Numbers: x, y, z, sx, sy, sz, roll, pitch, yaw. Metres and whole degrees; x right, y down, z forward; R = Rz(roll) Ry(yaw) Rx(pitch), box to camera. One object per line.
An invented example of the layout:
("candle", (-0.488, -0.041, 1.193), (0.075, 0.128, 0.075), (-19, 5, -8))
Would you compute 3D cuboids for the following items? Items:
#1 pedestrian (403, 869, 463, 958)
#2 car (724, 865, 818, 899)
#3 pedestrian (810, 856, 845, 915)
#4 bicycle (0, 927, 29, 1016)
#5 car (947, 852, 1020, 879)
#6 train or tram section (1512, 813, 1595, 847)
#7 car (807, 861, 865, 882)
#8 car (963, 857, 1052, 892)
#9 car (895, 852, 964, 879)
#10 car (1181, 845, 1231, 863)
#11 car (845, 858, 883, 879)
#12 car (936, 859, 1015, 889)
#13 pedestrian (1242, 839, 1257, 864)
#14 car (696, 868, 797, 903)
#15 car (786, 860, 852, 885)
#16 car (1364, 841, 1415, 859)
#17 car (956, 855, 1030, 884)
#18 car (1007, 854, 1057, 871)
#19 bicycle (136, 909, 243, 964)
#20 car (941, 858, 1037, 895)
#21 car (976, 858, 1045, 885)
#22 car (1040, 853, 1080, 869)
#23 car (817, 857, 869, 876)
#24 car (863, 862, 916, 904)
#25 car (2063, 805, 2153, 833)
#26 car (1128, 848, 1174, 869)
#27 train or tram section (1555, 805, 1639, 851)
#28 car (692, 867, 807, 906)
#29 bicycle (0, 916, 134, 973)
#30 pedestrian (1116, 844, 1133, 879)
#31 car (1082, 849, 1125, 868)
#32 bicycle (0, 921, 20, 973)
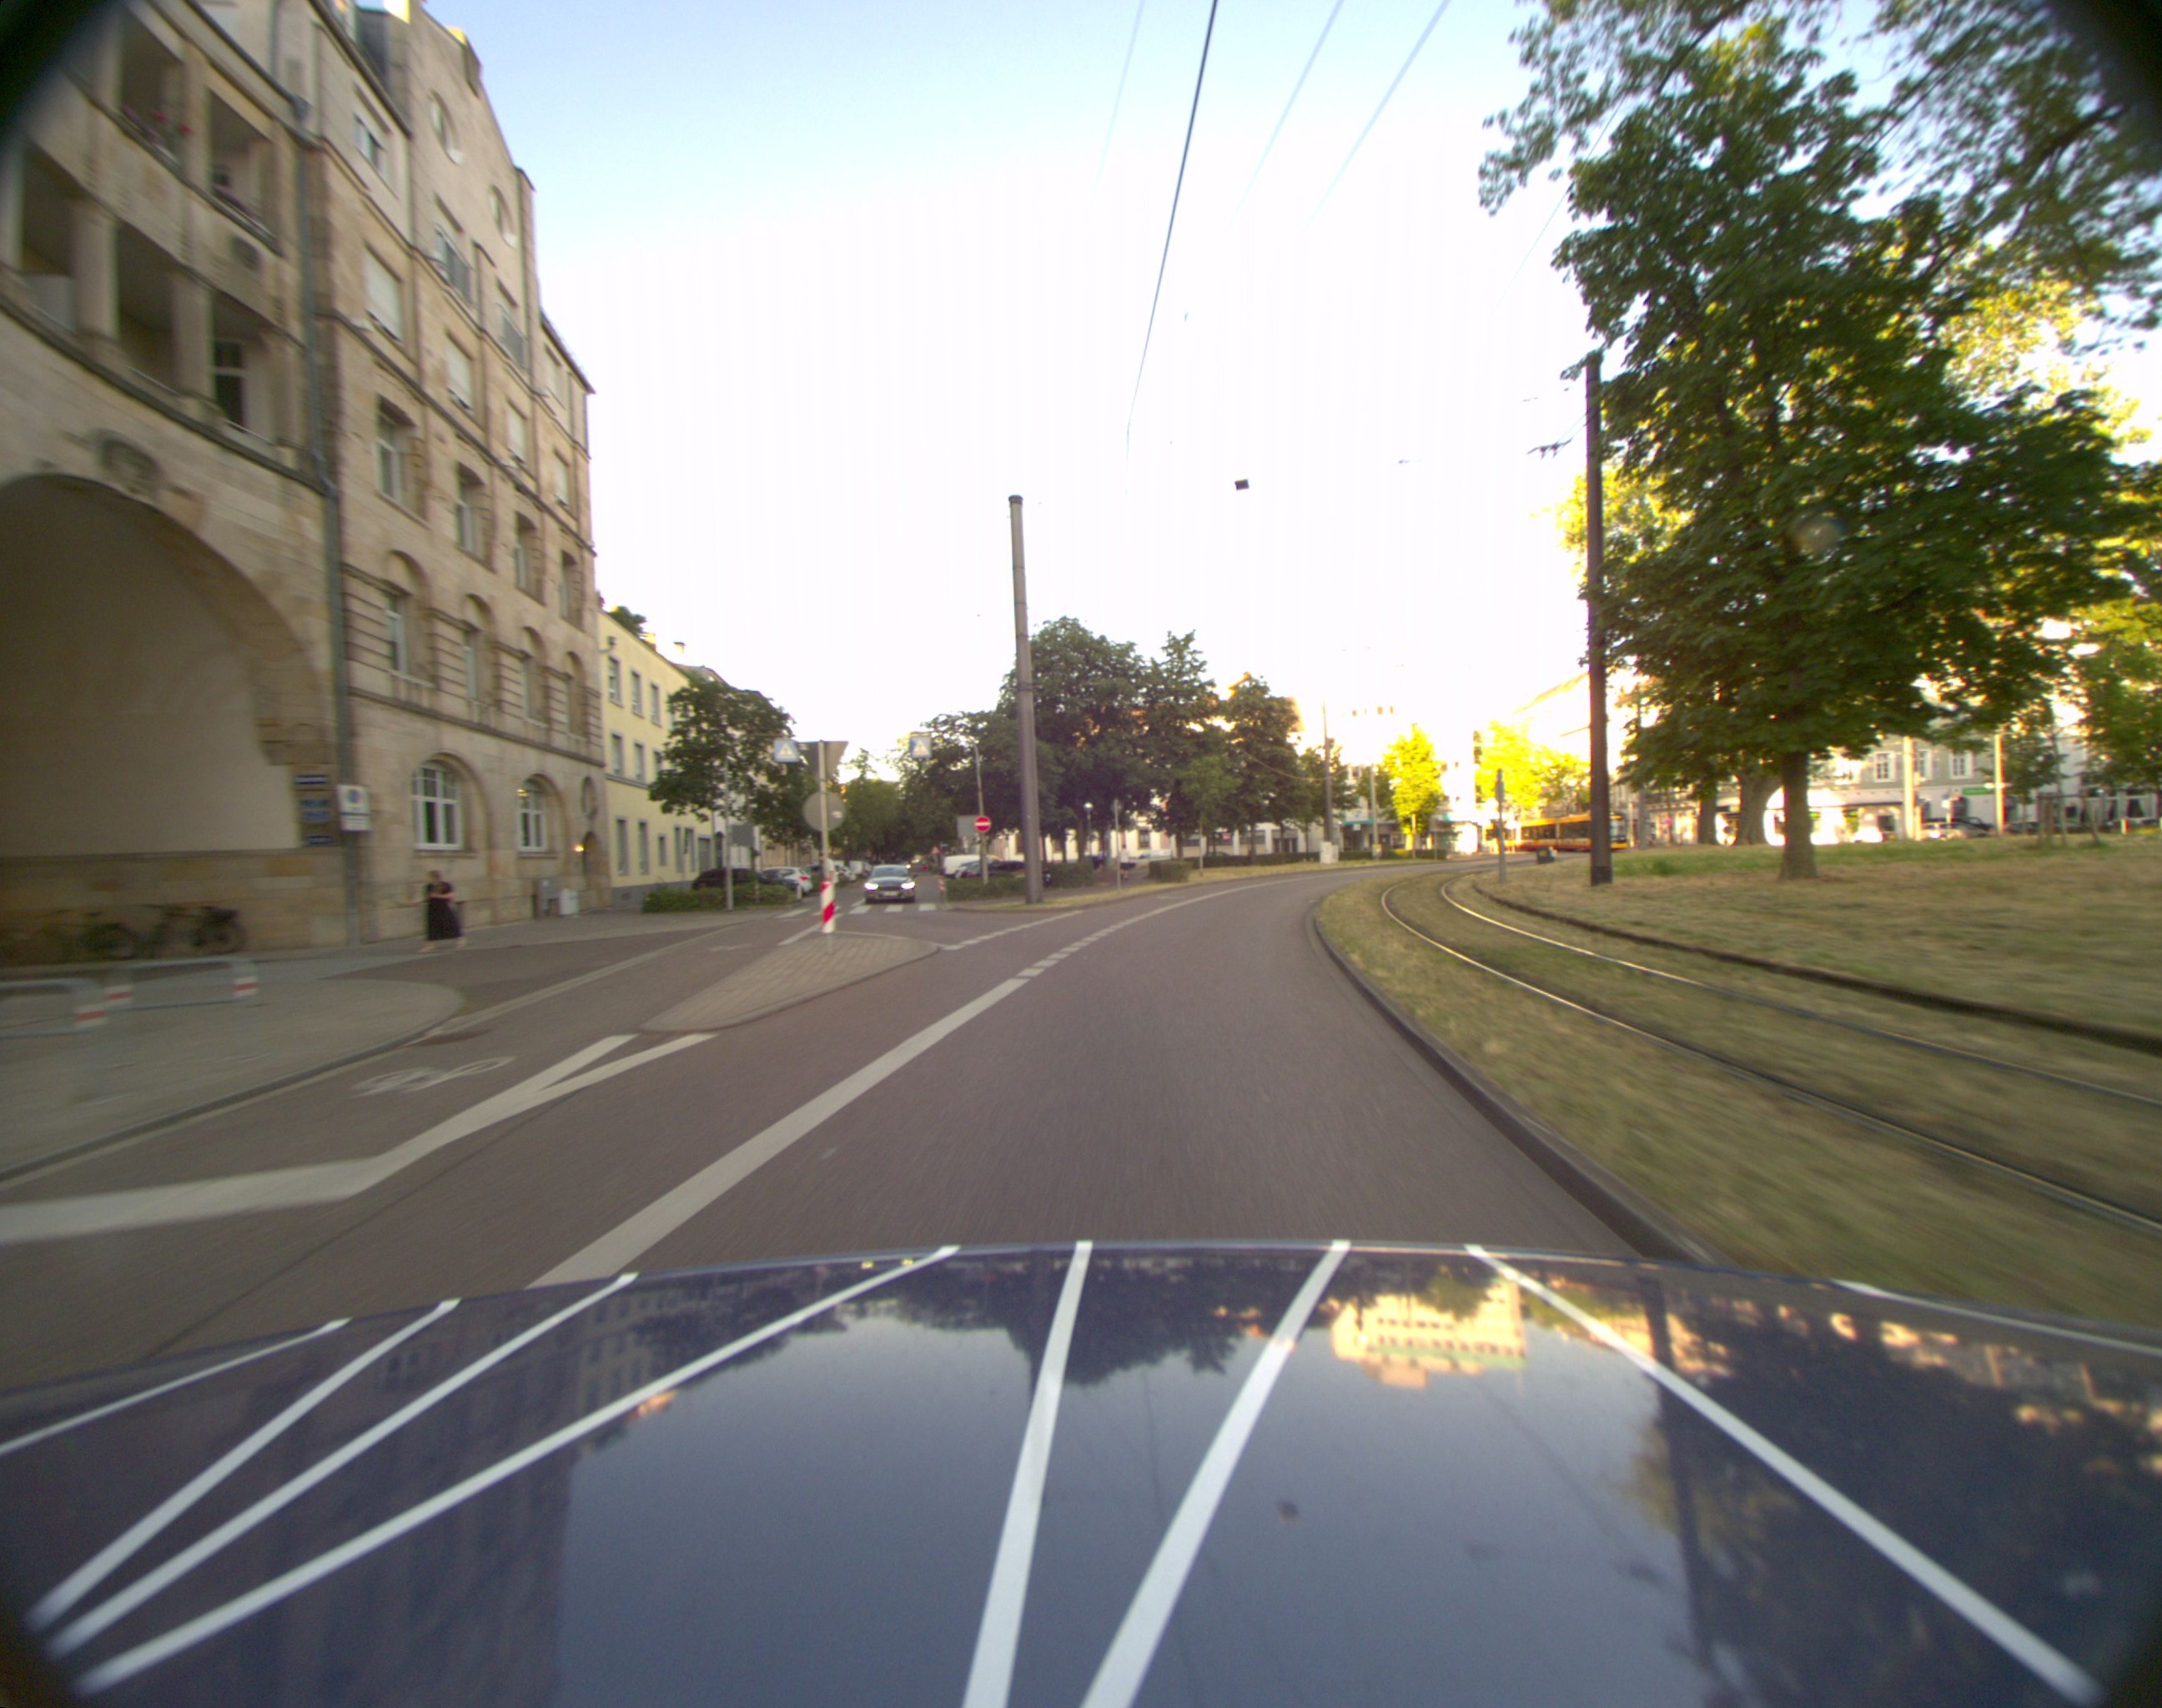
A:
("pedestrian", (-12.910, 1.166, 15.154), (0.577, 1.699, 0.721), (-2, 0, -8))
("car", (-15.710, 1.401, 38.704), (4.068, 1.560, 1.836), (-2, 0, -10))
("pedestrian", (-7.825, 0.966, 23.485), (0.591, 1.781, 0.822), (-2, 0, 20))
("bicycle", (-14.316, 1.496, 9.286), (1.856, 1.066, 0.429), (-2, 0, -13))
("car", (-7.408, 0.896, 58.163), (5.074, 1.891, 2.123), (-2, 0, 11))
("train or tram section", (49.332, -2.442, 79.968), (2.927, 3.123, 12.865), (-3, 1, 11))
("car", (-20.450, 1.444, 63.540), (4.064, 1.542, 2.001), (-2, 0, 3))
("car", (-3.581, 0.982, 37.479), (4.064, 1.547, 1.866), (-2, 0, 3))
("car", (-12.435, 0.967, 62.410), (5.074, 2.010, 1.969), (-2, 0, 11))
("car", (11.137, -0.025, 67.960), (4.317, 1.402, 1.807), (-2, 2, 8))
("car", (-25.214, 1.710, 88.487), (4.069, 2.280, 1.998), (-2, 0, -13))
("car", (-5.946, 1.116, 43.028), (4.064, 1.542, 2.001), (-2, 0, 3))
("pedestrian", (11.154, -0.175, 50.349), (0.652, 1.616, 0.612), (-2, 0, -33))
("car", (-15.905, 1.455, 36.341), (4.069, 1.476, 1.836), (-2, 0, -11))
("car", (-18.079, 1.263, 52.680), (4.069, 1.542, 1.998), (-2, 0, -13))
("car", (28.328, -0.344, 69.909), (3.994, 1.441, 1.850), (-2, 0, 8))
("car", (-5.278, 0.924, 45.906), (4.064, 1.608, 2.001), (-2, 0, 3))
("car", (-4.528, 0.747, 70.435), (4.389, 1.411, 1.729), (-2, 0, 8))
("bicycle", (-17.770, 1.633, 15.166), (1.442, 0.980, 0.360), (-2, 0, -13))
("car", (-4.205, 1.014, 35.204), (4.064, 1.547, 1.866), (-2, 0, 3))
("car", (-4.450, 1.119, 48.163), (4.064, 1.542, 2.001), (-2, 0, 3))
("car", (-2.095, 0.717, 75.416), (3.671, 1.441, 1.703), (-2, 0, 10))
("car", (-22.109, 1.122, 70.696), (4.400, 1.603, 1.727), (-2, 0, -13))
("car", (-7.471, 1.097, 29.913), (1.821, 1.473, 4.131), (-2, -1, -12))
("car", (80.657, -2.737, 59.718), (3.995, 1.892, 2.001), (-2, 0, 6))
("car", (6.352, 0.431, 68.763), (4.008, 1.714, 1.703), (-2, 0, 8))
("train or tram section", (45.632, -2.283, 67.715), (2.944, 3.563, 13.384), (-2, 1, 20))
("car", (-14.768, 1.413, 34.080), (4.399, 1.548, 1.836), (-2, 0, -11))
("bicycle", (-19.784, 1.744, 14.825), (1.734, 0.980, 0.413), (-2, 0, -13))
("pedestrian", (2.140, 0.392, 37.760), (0.769, 1.705, 0.786), (-2, 0, 1))
("car", (2.226, 0.484, 74.791), (4.007, 1.714, 1.703), (-2, 0, 10))
("bicycle", (-21.446, 1.810, 14.373), (1.573, 0.964, 0.609), (-2, 0, -13))
